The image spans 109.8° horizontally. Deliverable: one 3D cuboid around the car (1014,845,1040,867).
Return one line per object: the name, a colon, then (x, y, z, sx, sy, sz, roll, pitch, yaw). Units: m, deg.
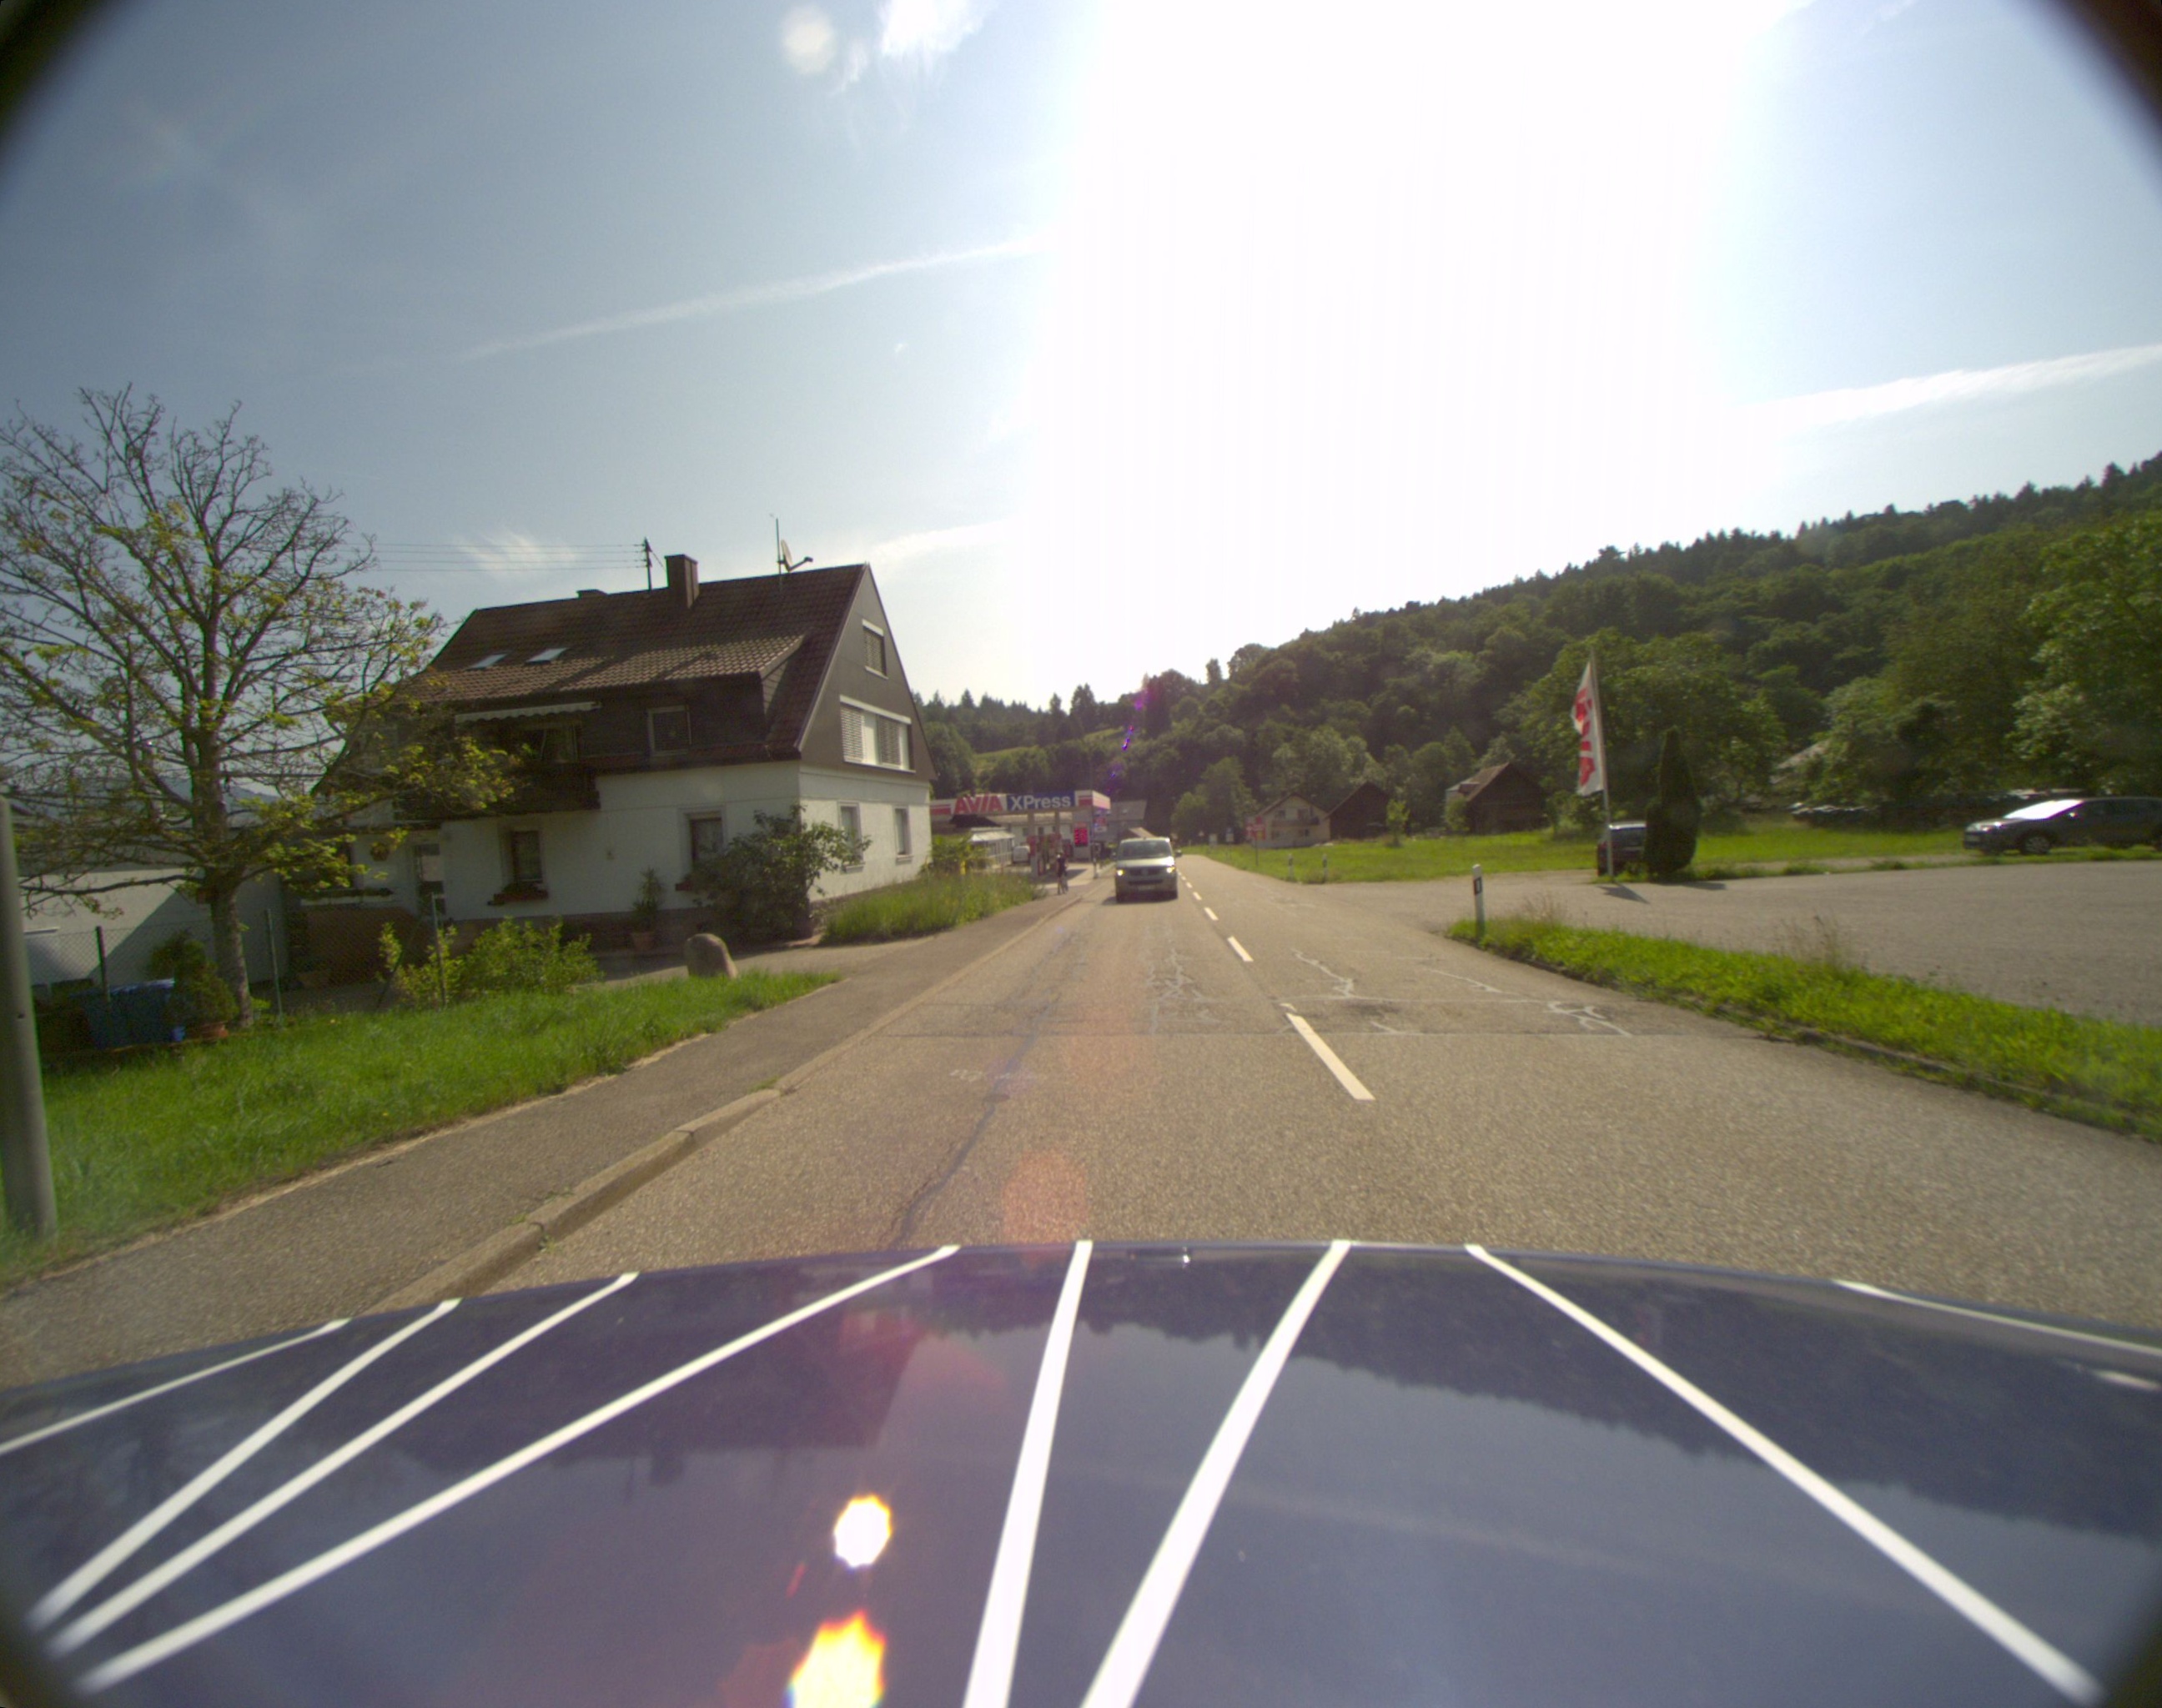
car: (-5.030, 0.144, 71.008, 1.684, 1.805, 4.000, -5, 1, 5)

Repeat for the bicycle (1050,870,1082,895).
bicycle: (-0.632, 1.147, 30.665, 0.691, 0.912, 1.948, -6, -1, -17)

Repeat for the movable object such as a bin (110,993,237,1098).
movable object such as a bin: (-11.794, 2.471, 9.907, 0.569, 1.112, 0.793, -5, 2, -4)

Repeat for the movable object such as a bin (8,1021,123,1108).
movable object such as a bin: (-13.079, 2.696, 9.801, 0.569, 0.895, 0.586, -5, 2, -4)

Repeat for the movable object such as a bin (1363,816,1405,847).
movable object such as a bin: (33.985, -2.499, 85.440, 4.184, 3.119, 2.205, -4, 1, 20)

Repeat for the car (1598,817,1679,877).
car: (17.772, -0.272, 24.405, 1.831, 1.639, 4.917, -4, 0, 34)

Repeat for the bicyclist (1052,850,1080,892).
bicyclist: (-0.604, 0.692, 30.502, 0.691, 1.623, 1.139, -6, -1, -17)

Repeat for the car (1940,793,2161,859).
car: (26.884, -0.750, 20.839, 3.924, 1.476, 1.920, -4, 0, 23)

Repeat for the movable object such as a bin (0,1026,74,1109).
movable object such as a bin: (-13.666, 2.749, 9.756, 0.569, 0.895, 0.586, -5, 2, -4)

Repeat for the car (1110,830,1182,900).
car: (2.241, 0.309, 24.710, 2.023, 1.970, 5.051, -2, 0, 8)

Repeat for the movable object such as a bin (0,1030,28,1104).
movable object such as a bin: (-14.166, 2.794, 9.735, 0.420, 0.895, 0.586, -5, 2, -4)

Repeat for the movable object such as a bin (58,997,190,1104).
movable object such as a bin: (-12.384, 2.524, 9.862, 0.569, 1.112, 0.798, -5, 2, -4)
